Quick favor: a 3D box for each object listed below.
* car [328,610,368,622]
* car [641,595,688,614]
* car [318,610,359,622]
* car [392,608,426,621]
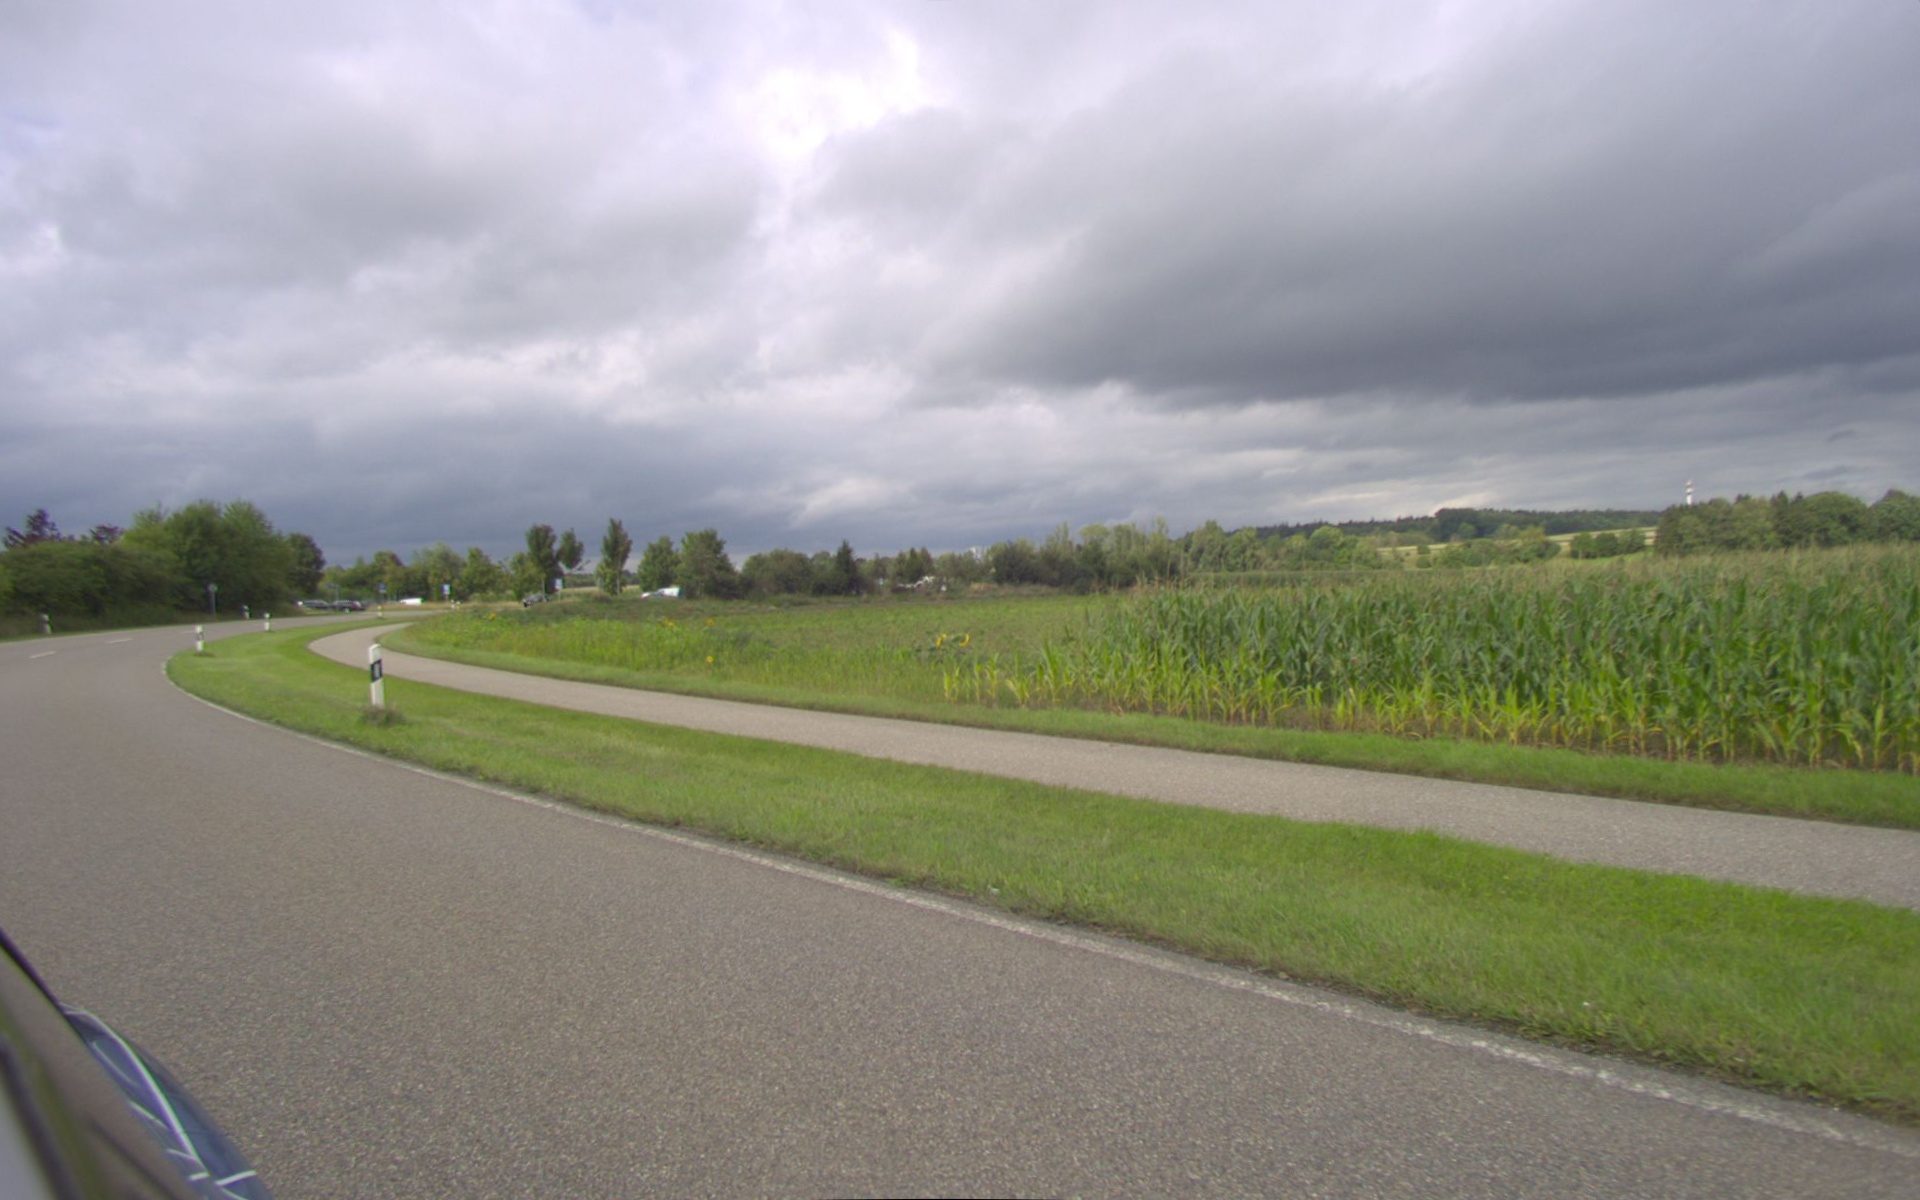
[{"bbox_3d":[-79.975,2.095,132.300,3.946,1.516,2.055,-2,0,-8],"label":"car"},{"bbox_3d":[-34.602,0.553,118.629,4.842,2.029,2.056,-2,0,1],"label":"car"},{"bbox_3d":[-79.129,2.029,128.871,4.095,1.424,2.006,-2,0,-15],"label":"car"},{"bbox_3d":[-82.971,2.153,152.442,3.934,1.874,2.005,-2,0,-11],"label":"car"}]
